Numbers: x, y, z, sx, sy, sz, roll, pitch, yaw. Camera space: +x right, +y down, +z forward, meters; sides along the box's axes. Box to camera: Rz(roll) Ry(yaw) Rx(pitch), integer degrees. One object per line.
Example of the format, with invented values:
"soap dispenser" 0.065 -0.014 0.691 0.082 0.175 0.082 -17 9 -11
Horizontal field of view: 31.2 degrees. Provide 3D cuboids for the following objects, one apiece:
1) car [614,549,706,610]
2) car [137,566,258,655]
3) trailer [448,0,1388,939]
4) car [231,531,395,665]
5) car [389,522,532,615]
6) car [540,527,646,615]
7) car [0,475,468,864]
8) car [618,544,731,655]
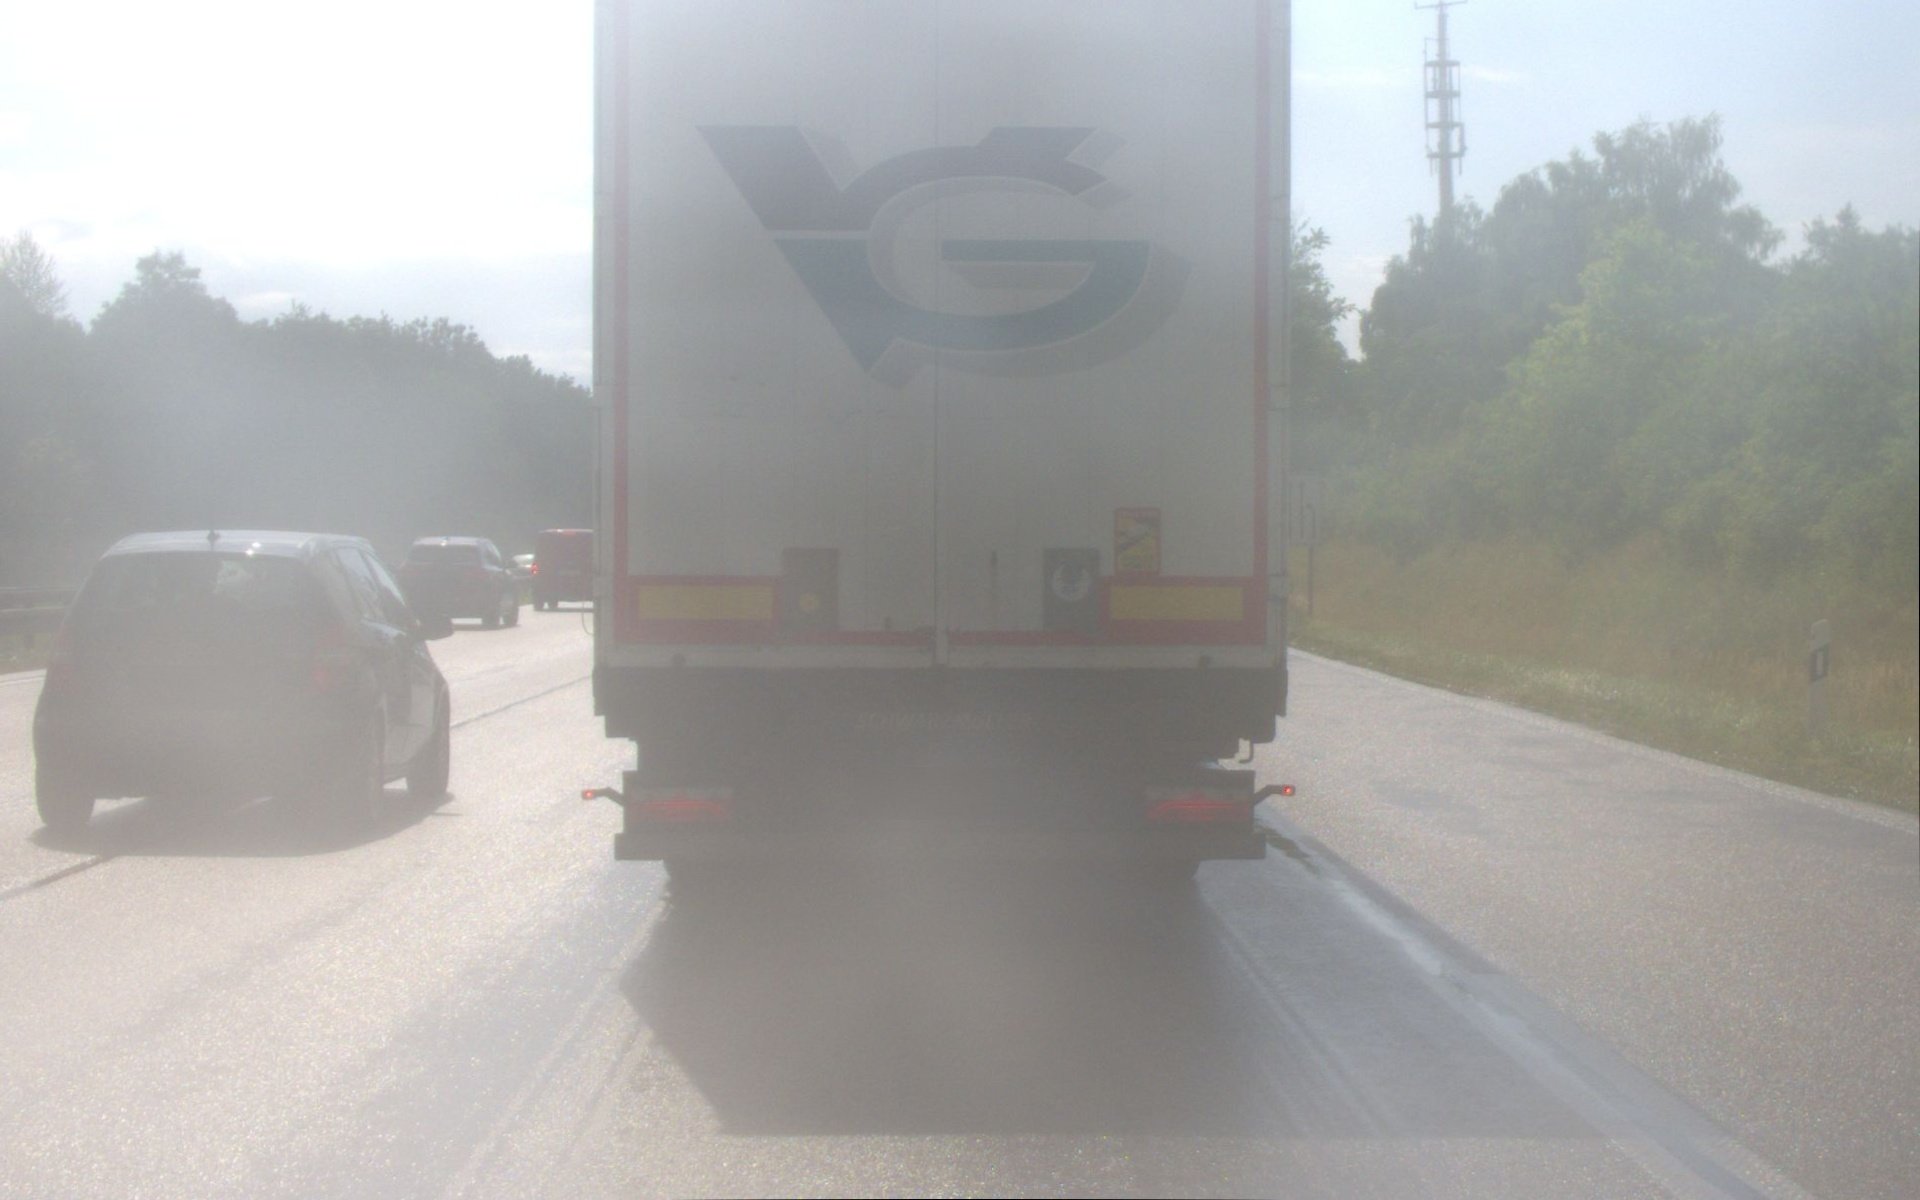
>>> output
"car" -8.067 -0.558 92.731 1.993 1.559 4.756 1 0 1
"car" -18.037 0.226 81.535 1.830 2.038 4.779 1 0 -1
"trailer" -0.269 -0.879 19.301 3.283 3.885 14.129 1 1 -1
"car" -9.152 -0.042 48.892 1.692 1.798 3.976 1 0 -2
"car" -9.237 -0.576 63.911 1.909 1.631 4.617 -1 0 1
"car" -8.858 -0.702 83.282 1.978 2.047 4.756 1 0 1
"car" -4.149 0.333 19.797 2.274 1.948 4.822 1 0 -5
"car" -4.804 -0.027 58.295 1.692 1.798 3.976 1 0 -2
